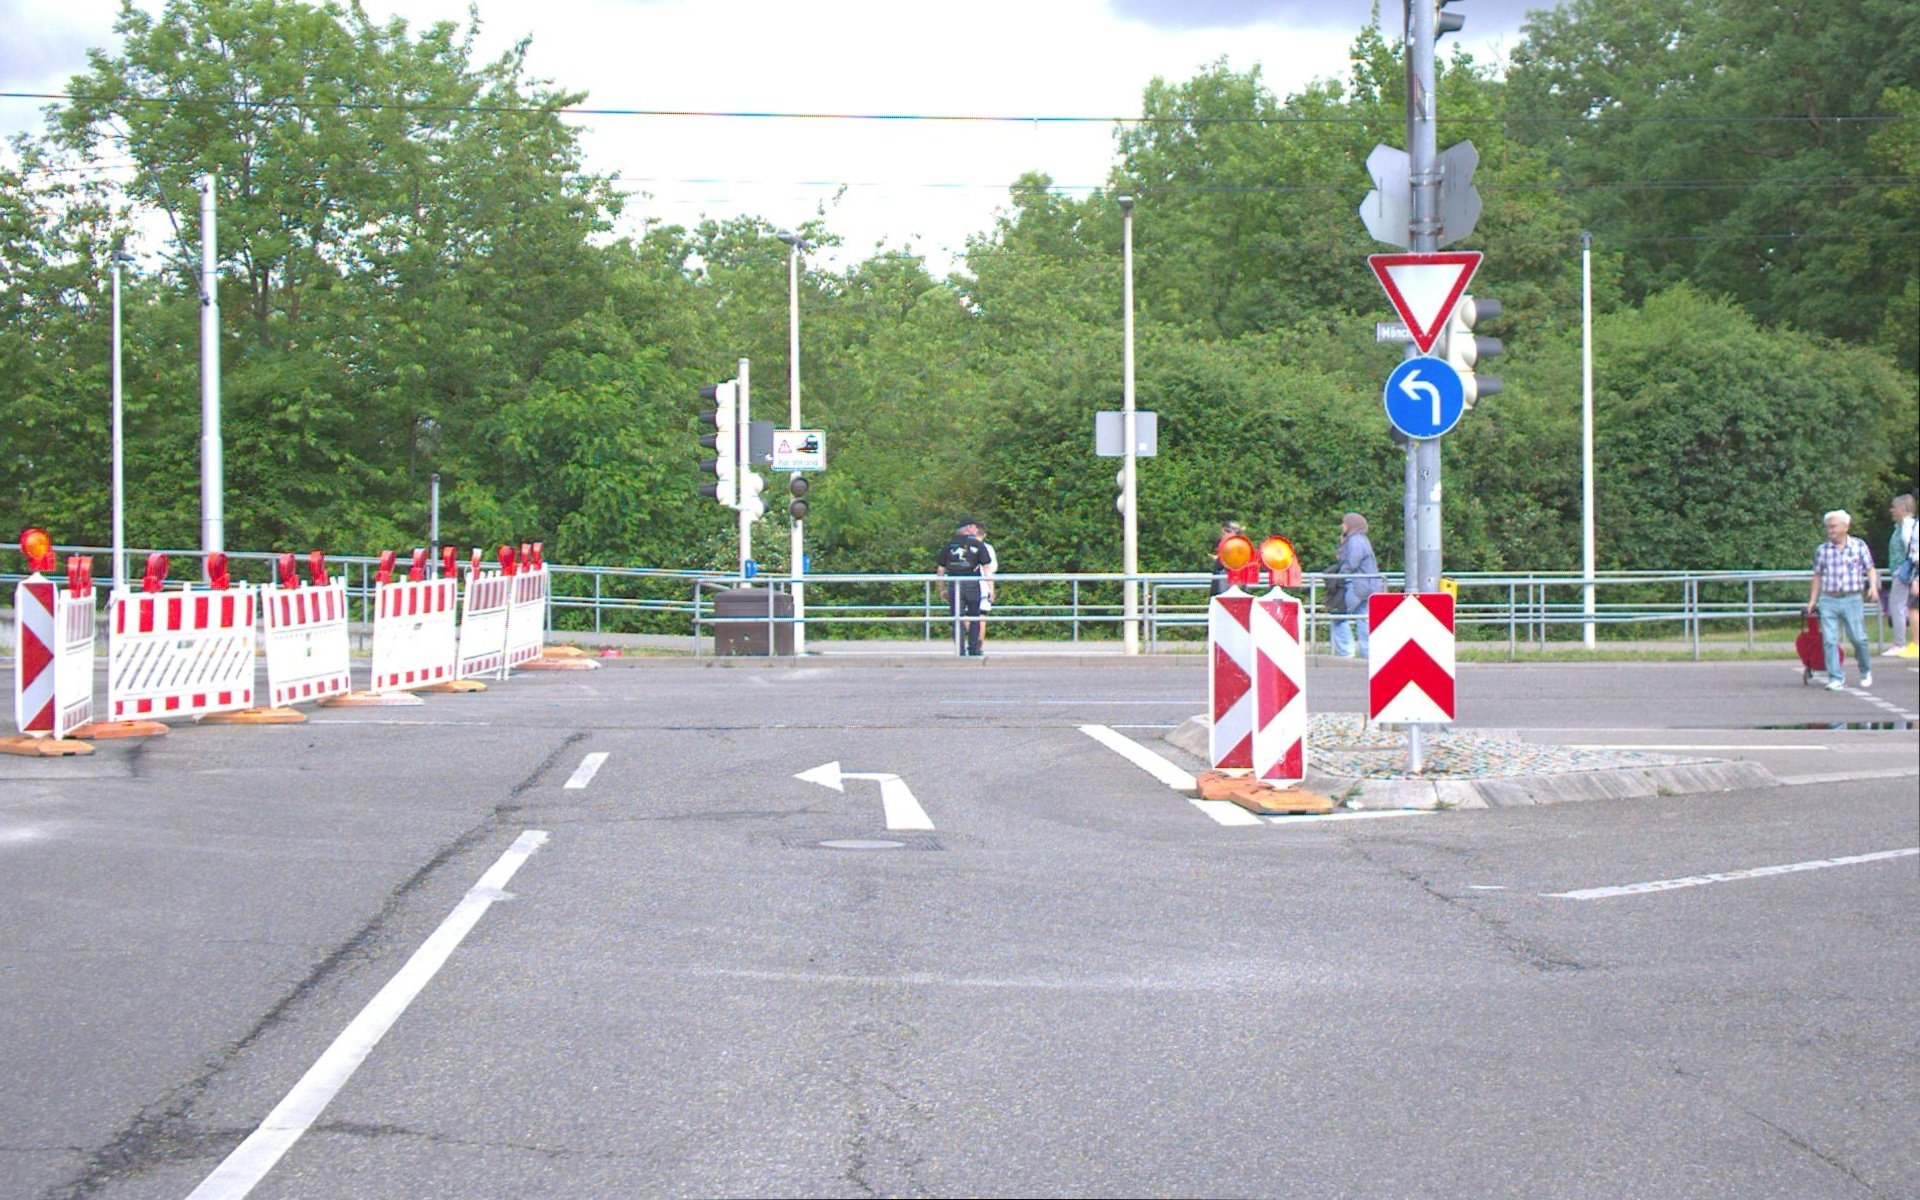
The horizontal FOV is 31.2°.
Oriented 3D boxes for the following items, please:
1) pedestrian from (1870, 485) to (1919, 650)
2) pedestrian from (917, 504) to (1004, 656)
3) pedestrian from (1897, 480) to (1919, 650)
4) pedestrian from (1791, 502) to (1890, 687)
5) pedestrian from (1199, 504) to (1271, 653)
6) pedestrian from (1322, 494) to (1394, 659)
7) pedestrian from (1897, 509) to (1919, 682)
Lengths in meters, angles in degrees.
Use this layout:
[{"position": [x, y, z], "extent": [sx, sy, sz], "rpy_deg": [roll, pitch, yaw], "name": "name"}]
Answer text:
[{"position": [10.106, -0.352, 36.697], "extent": [0.721, 1.741, 0.957], "rpy_deg": [1, 1, 14], "name": "pedestrian"}, {"position": [0.002, -0.237, 39.882], "extent": [0.954, 1.741, 0.723], "rpy_deg": [0, 1, -4], "name": "pedestrian"}, {"position": [10.099, -0.363, 35.621], "extent": [0.721, 1.741, 0.957], "rpy_deg": [1, 1, 14], "name": "pedestrian"}, {"position": [7.886, -0.056, 30.777], "extent": [0.698, 1.628, 0.721], "rpy_deg": [1, 1, 27], "name": "pedestrian"}, {"position": [3.011, -0.241, 37.618], "extent": [0.720, 1.616, 0.805], "rpy_deg": [0, 1, 8], "name": "pedestrian"}, {"position": [4.255, -0.257, 36.734], "extent": [0.720, 1.741, 0.957], "rpy_deg": [0, 1, 8], "name": "pedestrian"}, {"position": [8.972, -0.041, 31.319], "extent": [0.691, 1.561, 0.731], "rpy_deg": [1, 1, 27], "name": "pedestrian"}]
